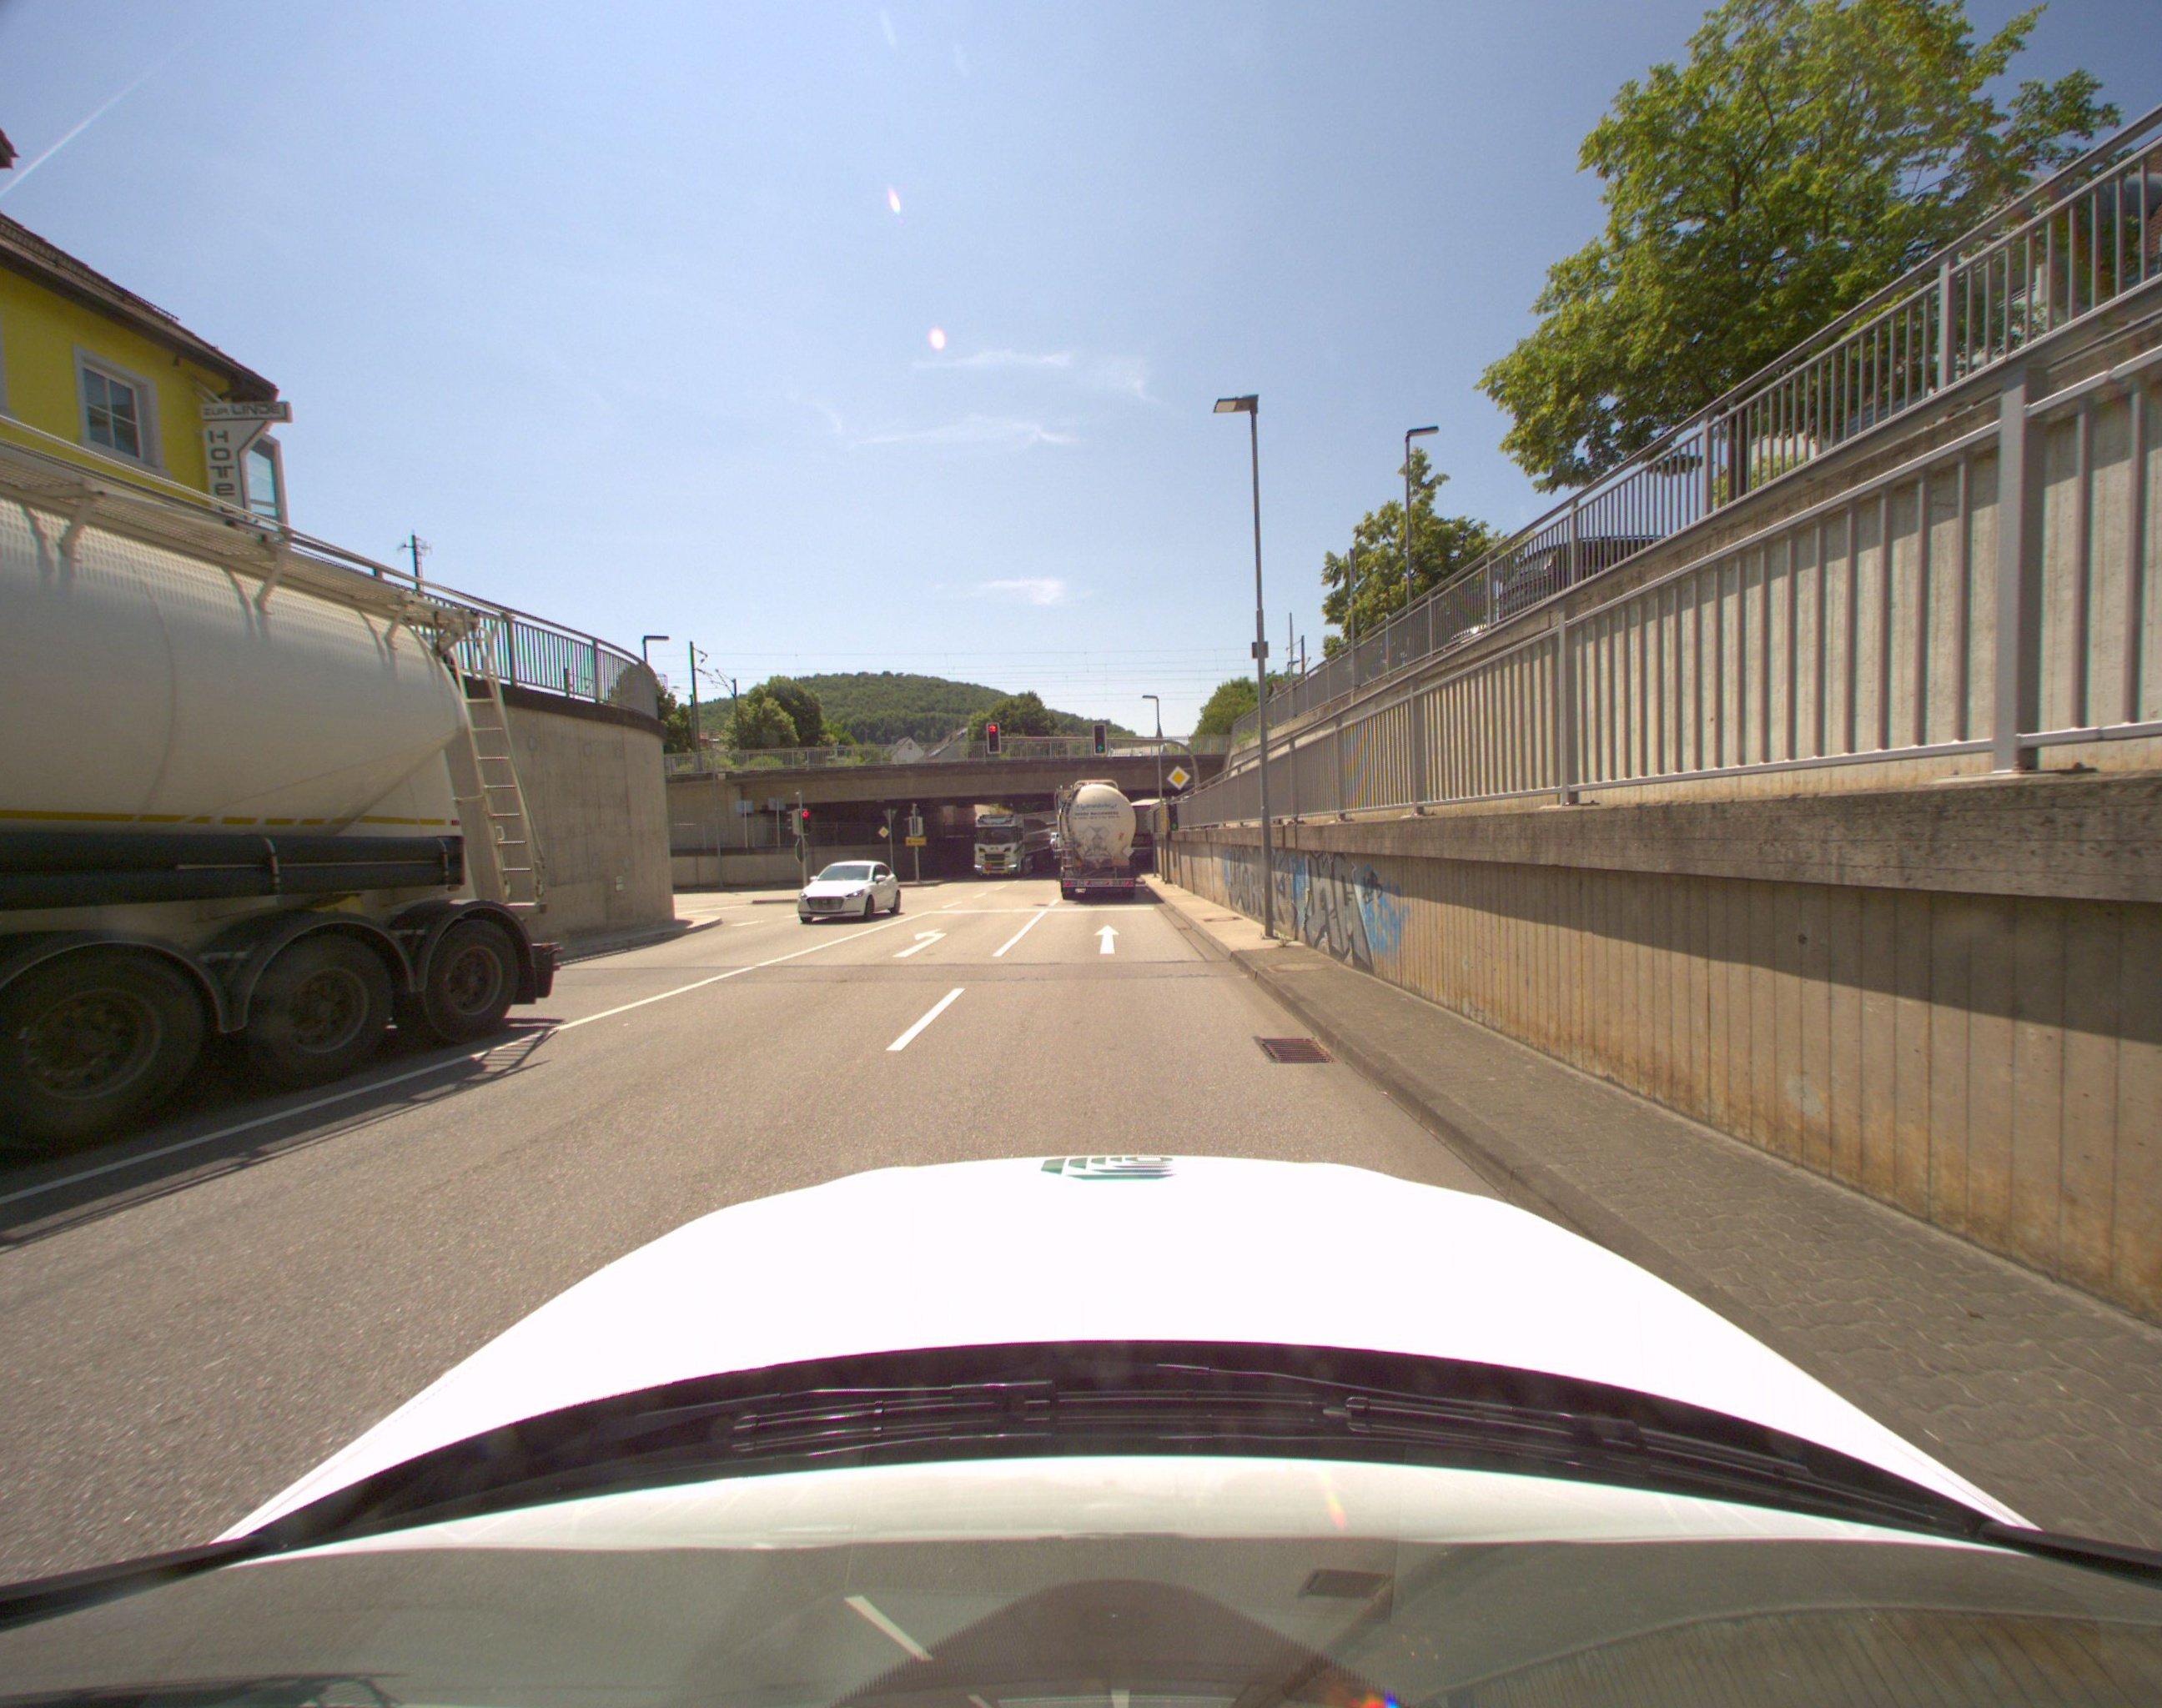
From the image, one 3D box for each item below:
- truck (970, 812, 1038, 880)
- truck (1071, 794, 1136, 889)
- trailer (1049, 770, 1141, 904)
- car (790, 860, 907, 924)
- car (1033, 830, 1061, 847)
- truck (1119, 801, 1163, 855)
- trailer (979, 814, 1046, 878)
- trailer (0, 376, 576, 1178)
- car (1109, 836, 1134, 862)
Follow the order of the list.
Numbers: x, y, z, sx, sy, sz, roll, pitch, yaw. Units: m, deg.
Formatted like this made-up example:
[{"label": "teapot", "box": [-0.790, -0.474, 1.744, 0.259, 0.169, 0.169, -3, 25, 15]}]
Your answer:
[{"label": "truck", "box": [-4.398, -0.457, 48.079, 2.677, 3.663, 7.378, -1, 0, 4]}, {"label": "truck", "box": [1.173, -0.543, 38.744, 2.723, 4.064, 6.534, -1, 0, 3]}, {"label": "trailer", "box": [0.798, -0.528, 31.750, 2.723, 4.064, 13.323, -1, 0, 3]}, {"label": "car", "box": [-5.896, 0.910, 21.173, 1.675, 1.440, 4.096, -1, 0, 2]}, {"label": "car", "box": [-3.292, -1.486, 78.849, 1.768, 1.466, 3.848, 1, 4, 13]}, {"label": "truck", "box": [6.118, -2.587, 81.634, 3.060, 4.999, 10.117, 0, 1, 12]}, {"label": "trailer", "box": [-4.152, -0.495, 51.599, 2.677, 3.663, 9.900, -1, 0, 4]}, {"label": "trailer", "box": [-6.648, -0.367, 3.628, 2.600, 3.964, 9.351, -1, 0, 2]}, {"label": "car", "box": [3.250, -0.408, 64.442, 1.873, 1.638, 4.007, -1, 5, 4]}]
